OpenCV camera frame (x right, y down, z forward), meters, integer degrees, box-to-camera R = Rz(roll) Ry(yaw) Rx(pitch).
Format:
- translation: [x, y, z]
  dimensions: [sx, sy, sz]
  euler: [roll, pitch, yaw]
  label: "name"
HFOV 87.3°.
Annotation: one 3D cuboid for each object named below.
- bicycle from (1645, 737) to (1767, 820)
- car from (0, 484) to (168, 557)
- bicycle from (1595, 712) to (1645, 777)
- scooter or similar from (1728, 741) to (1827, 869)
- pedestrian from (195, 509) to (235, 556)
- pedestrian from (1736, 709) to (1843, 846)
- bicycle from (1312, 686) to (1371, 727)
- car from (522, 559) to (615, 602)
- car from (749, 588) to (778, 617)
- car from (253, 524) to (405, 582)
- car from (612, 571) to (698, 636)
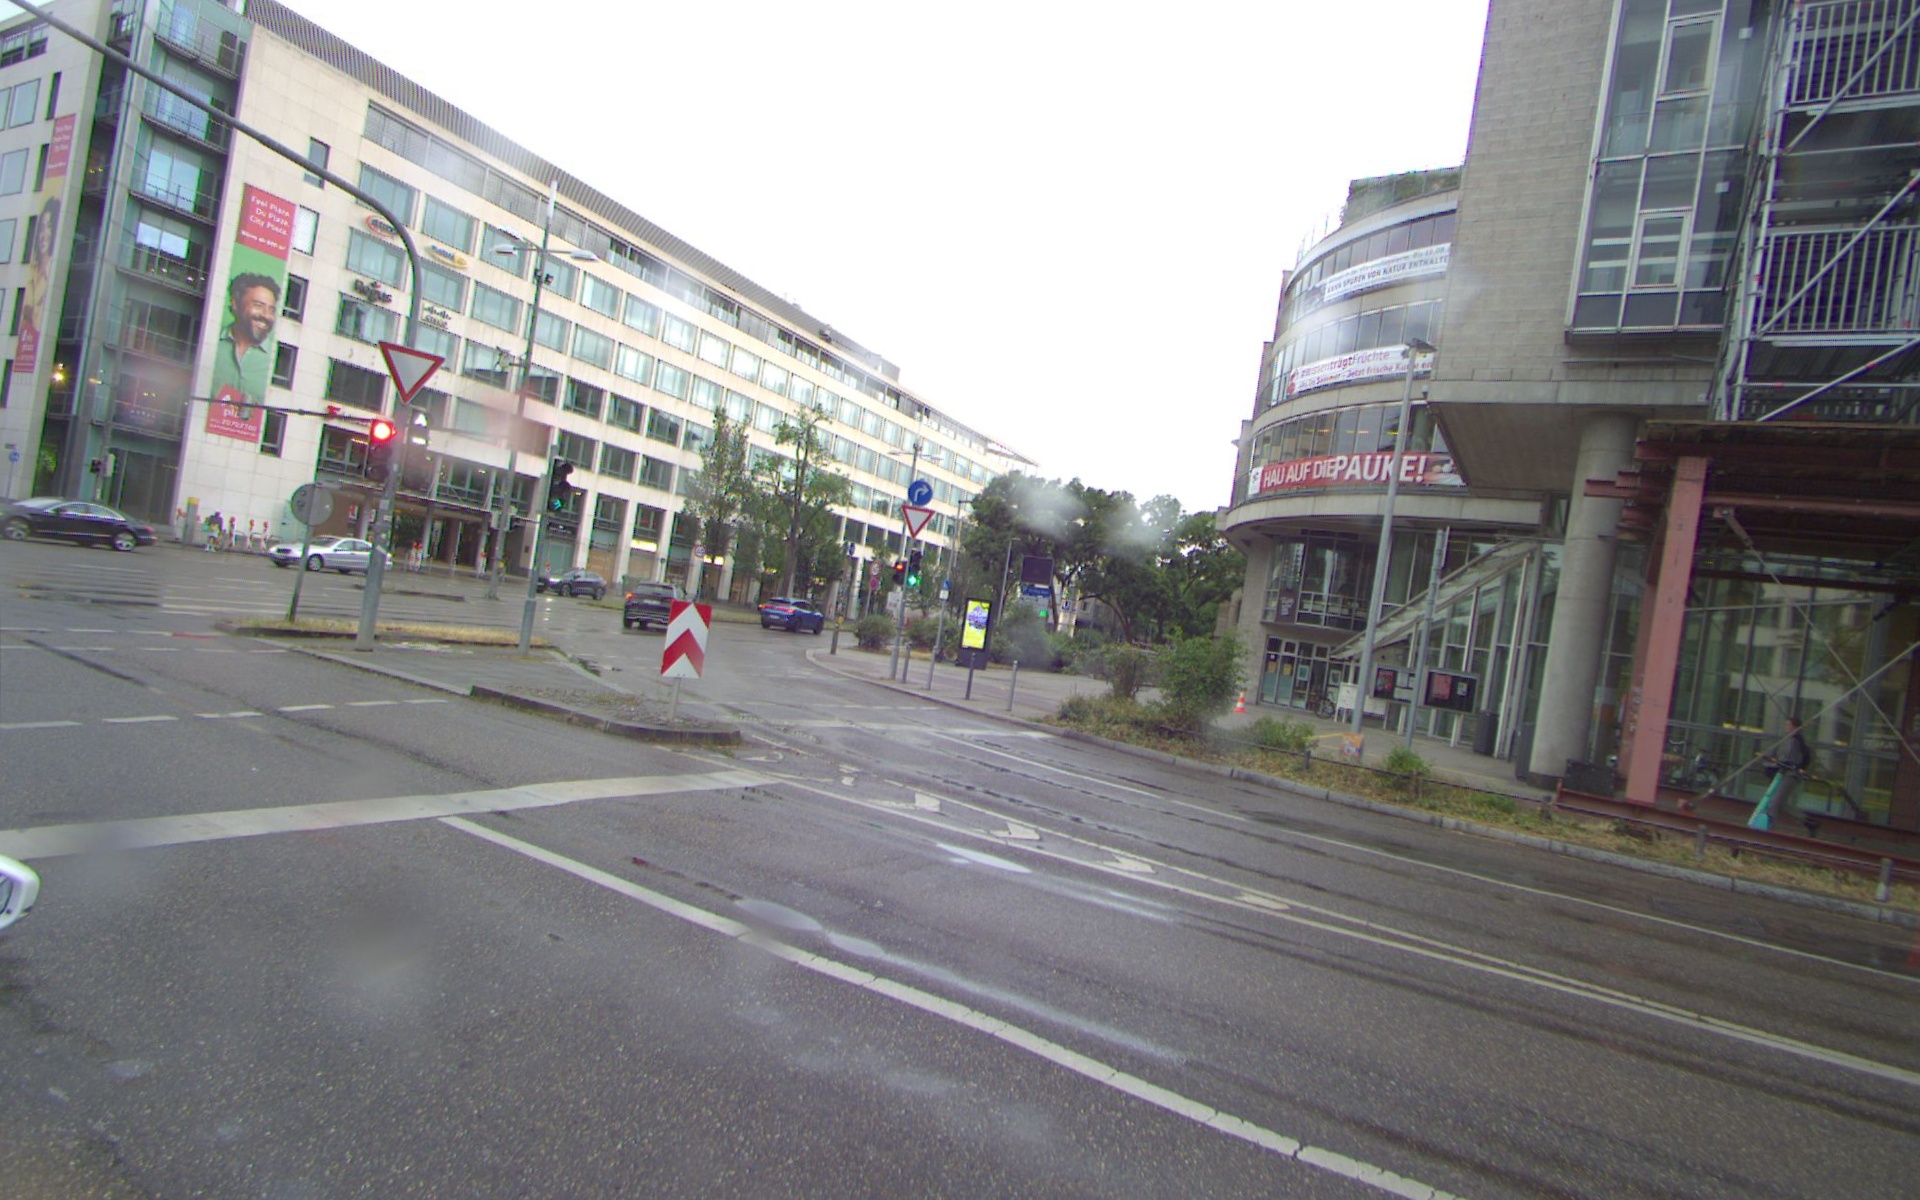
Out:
- translation: [13.495, 3.225, 18.229]
  dimensions: [1.584, 1.208, 0.587]
  euler: [7, -1, 6]
  label: "bicycle"
- translation: [-27.104, -2.404, 30.228]
  dimensions: [1.962, 1.494, 4.869]
  euler: [6, -3, 16]
  label: "car"
- translation: [13.679, 2.974, 20.887]
  dimensions: [0.576, 1.208, 1.614]
  euler: [7, -2, 27]
  label: "bicycle"
- translation: [9.232, 2.270, 11.418]
  dimensions: [0.577, 1.208, 1.780]
  euler: [7, -1, 34]
  label: "scooter or similar"
- translation: [-31.984, -2.904, 43.185]
  dimensions: [0.822, 1.838, 0.963]
  euler: [6, -1, 31]
  label: "pedestrian"
- translation: [12.007, 2.542, 14.598]
  dimensions: [0.776, 1.796, 0.781]
  euler: [7, -1, 13]
  label: "pedestrian"
- translation: [13.464, 3.747, 35.531]
  dimensions: [1.753, 1.208, 0.586]
  euler: [6, -1, 29]
  label: "bicycle"
- translation: [-20.332, -0.995, 52.480]
  dimensions: [1.798, 1.627, 4.491]
  euler: [7, -2, 23]
  label: "car"
- translation: [-16.190, 0.249, 82.860]
  dimensions: [1.521, 2.037, 4.669]
  euler: [7, -2, -4]
  label: "car"
- translation: [-24.302, -1.771, 38.964]
  dimensions: [1.962, 1.494, 4.739]
  euler: [6, -3, 17]
  label: "car"
- translation: [-9.660, 0.112, 32.124]
  dimensions: [1.903, 1.715, 3.994]
  euler: [8, -1, -9]
  label: "car"
